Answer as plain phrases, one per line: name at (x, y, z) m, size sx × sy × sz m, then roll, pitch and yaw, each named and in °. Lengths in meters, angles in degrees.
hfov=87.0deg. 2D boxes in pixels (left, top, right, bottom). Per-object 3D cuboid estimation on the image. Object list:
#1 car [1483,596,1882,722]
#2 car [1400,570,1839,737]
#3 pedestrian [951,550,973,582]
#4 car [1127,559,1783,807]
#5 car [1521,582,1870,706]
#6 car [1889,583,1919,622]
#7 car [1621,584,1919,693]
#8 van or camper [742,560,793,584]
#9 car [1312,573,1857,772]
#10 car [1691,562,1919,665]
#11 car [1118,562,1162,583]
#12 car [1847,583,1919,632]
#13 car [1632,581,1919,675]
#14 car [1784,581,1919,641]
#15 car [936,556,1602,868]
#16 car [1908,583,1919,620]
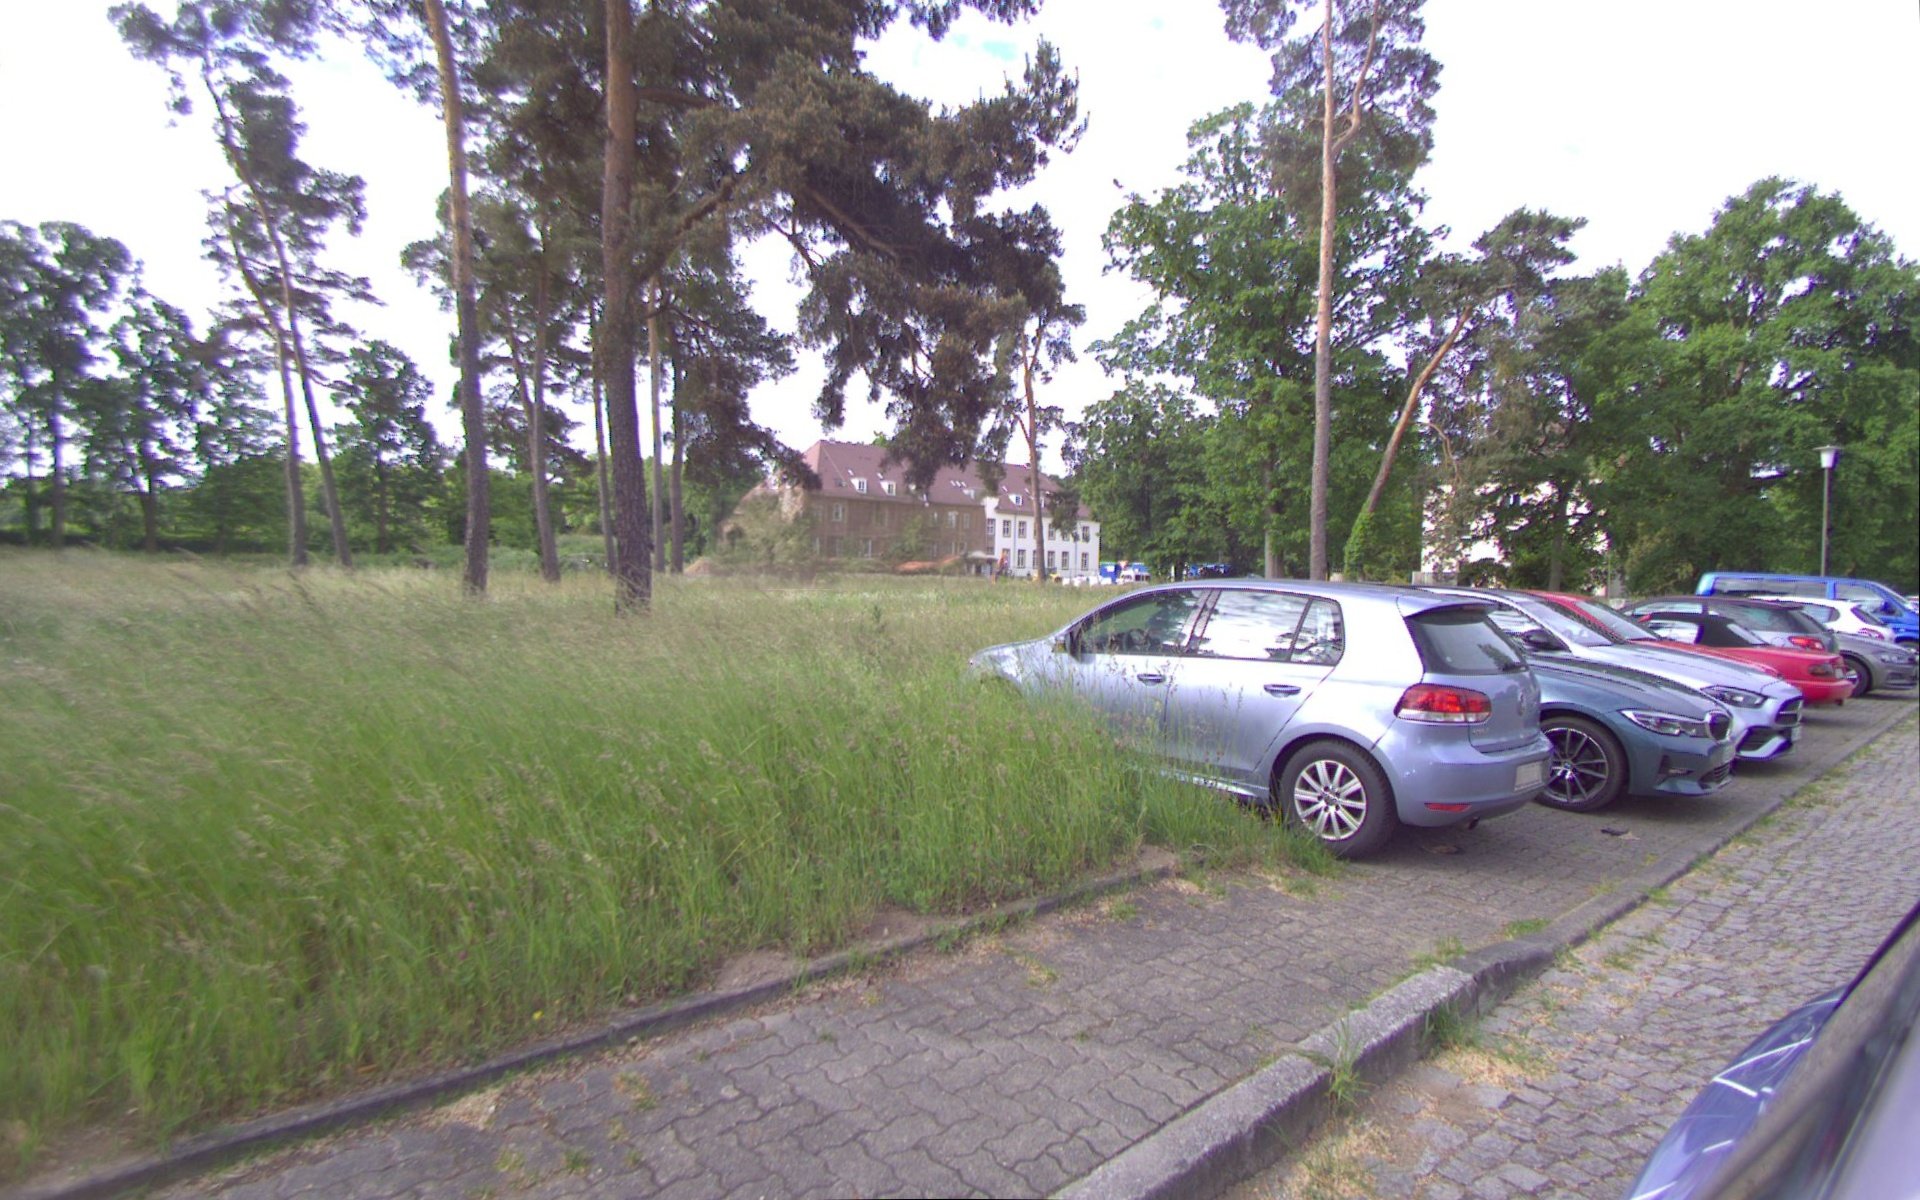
car at (9.301, 0.646, 13.292) m, size 1.765 × 1.250 × 3.932 m, roll 0°, pitch 2°, yaw -40°
car at (7.495, 0.471, 11.838) m, size 1.764 × 1.531 × 3.934 m, roll 0°, pitch 2°, yaw -38°
pedestrian at (0.164, -2.436, 72.535) m, size 1.037 × 2.204 × 1.183 m, roll 0°, pitch 2°, yaw -41°
car at (3.782, 0.434, 8.521) m, size 1.765 × 1.463 × 4.628 m, roll 0°, pitch 2°, yaw -40°
car at (10.941, 0.544, 15.282) m, size 1.765 × 1.494 × 3.932 m, roll 0°, pitch 2°, yaw -40°
car at (40.918, 0.150, 41.580) m, size 1.964 × 1.589 × 3.791 m, roll 0°, pitch 2°, yaw -39°
car at (13.393, 0.531, 16.582) m, size 1.765 × 1.453 × 3.931 m, roll 0°, pitch 2°, yaw -40°
van or camper at (-20.593, -3.006, 108.065) m, size 2.424 × 2.335 × 6.116 m, roll 0°, pitch 2°, yaw -43°
car at (5.927, 0.514, 10.104) m, size 1.764 × 1.463 × 4.268 m, roll 0°, pitch 2°, yaw -38°
car at (19.286, 0.226, 22.219) m, size 1.963 × 2.038 × 4.844 m, roll 0°, pitch 2°, yaw -37°
car at (19.136, -2.924, 107.722) m, size 4.753 × 2.038 × 2.163 m, roll 0°, pitch 2°, yaw -43°
car at (33.325, 0.288, 34.870) m, size 1.967 × 1.589 × 3.991 m, roll 0°, pitch 3°, yaw -44°
car at (15.224, 0.442, 19.056) m, size 1.765 × 1.467 × 3.931 m, roll 0°, pitch 2°, yaw -40°
car at (25.730, 0.284, 28.187) m, size 1.835 × 1.523 × 3.998 m, roll 0°, pitch 2°, yaw -38°
car at (1.771, 0.457, 6.865) m, size 1.765 × 1.436 × 3.996 m, roll 0°, pitch 2°, yaw -40°
car at (44.331, 0.121, 44.362) m, size 1.964 × 1.644 × 3.791 m, roll 0°, pitch 2°, yaw -39°
